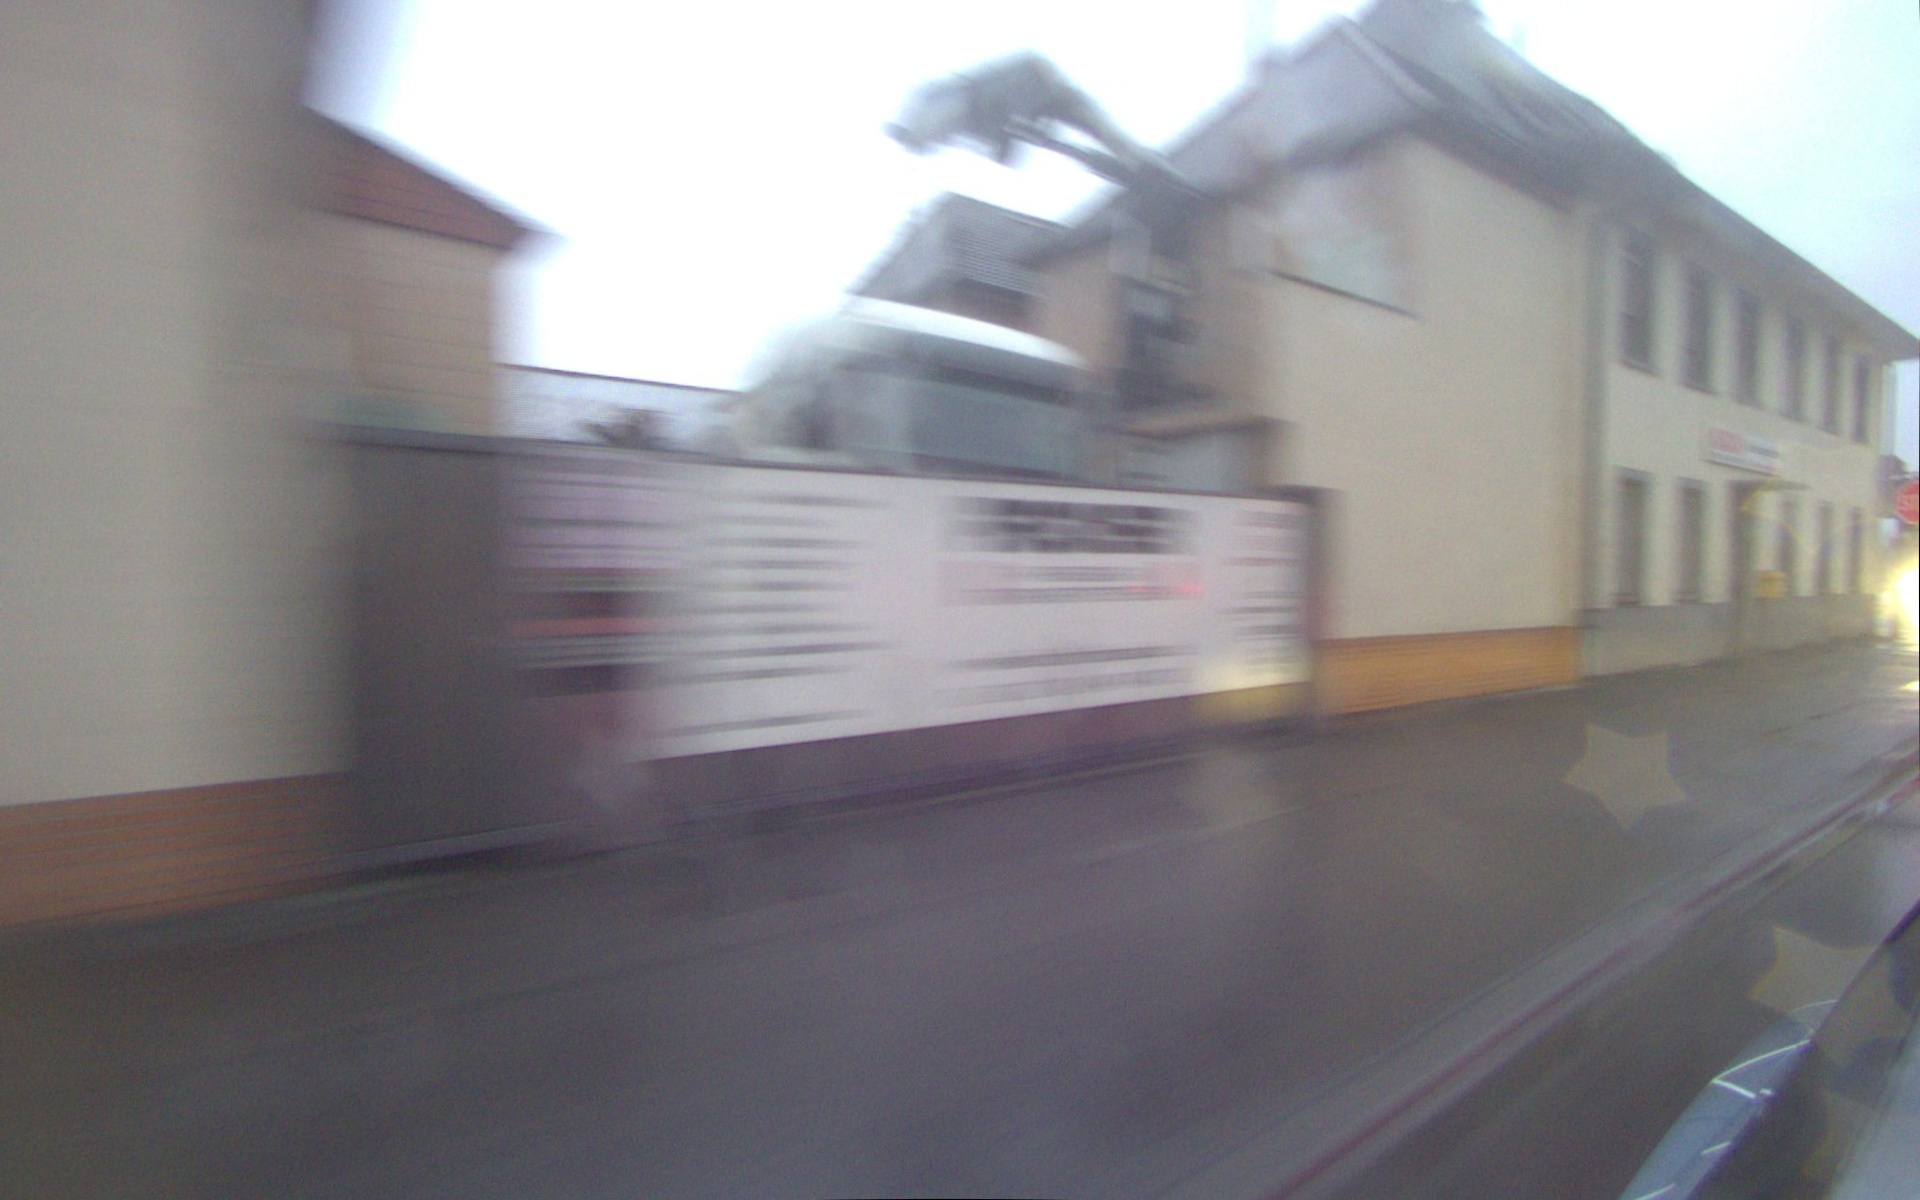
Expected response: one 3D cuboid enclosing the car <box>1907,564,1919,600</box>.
[{"bbox_3d":[45.648,-0.793,46.663,1.801,1.709,3.880,3,3,27],"label":"car"}]
